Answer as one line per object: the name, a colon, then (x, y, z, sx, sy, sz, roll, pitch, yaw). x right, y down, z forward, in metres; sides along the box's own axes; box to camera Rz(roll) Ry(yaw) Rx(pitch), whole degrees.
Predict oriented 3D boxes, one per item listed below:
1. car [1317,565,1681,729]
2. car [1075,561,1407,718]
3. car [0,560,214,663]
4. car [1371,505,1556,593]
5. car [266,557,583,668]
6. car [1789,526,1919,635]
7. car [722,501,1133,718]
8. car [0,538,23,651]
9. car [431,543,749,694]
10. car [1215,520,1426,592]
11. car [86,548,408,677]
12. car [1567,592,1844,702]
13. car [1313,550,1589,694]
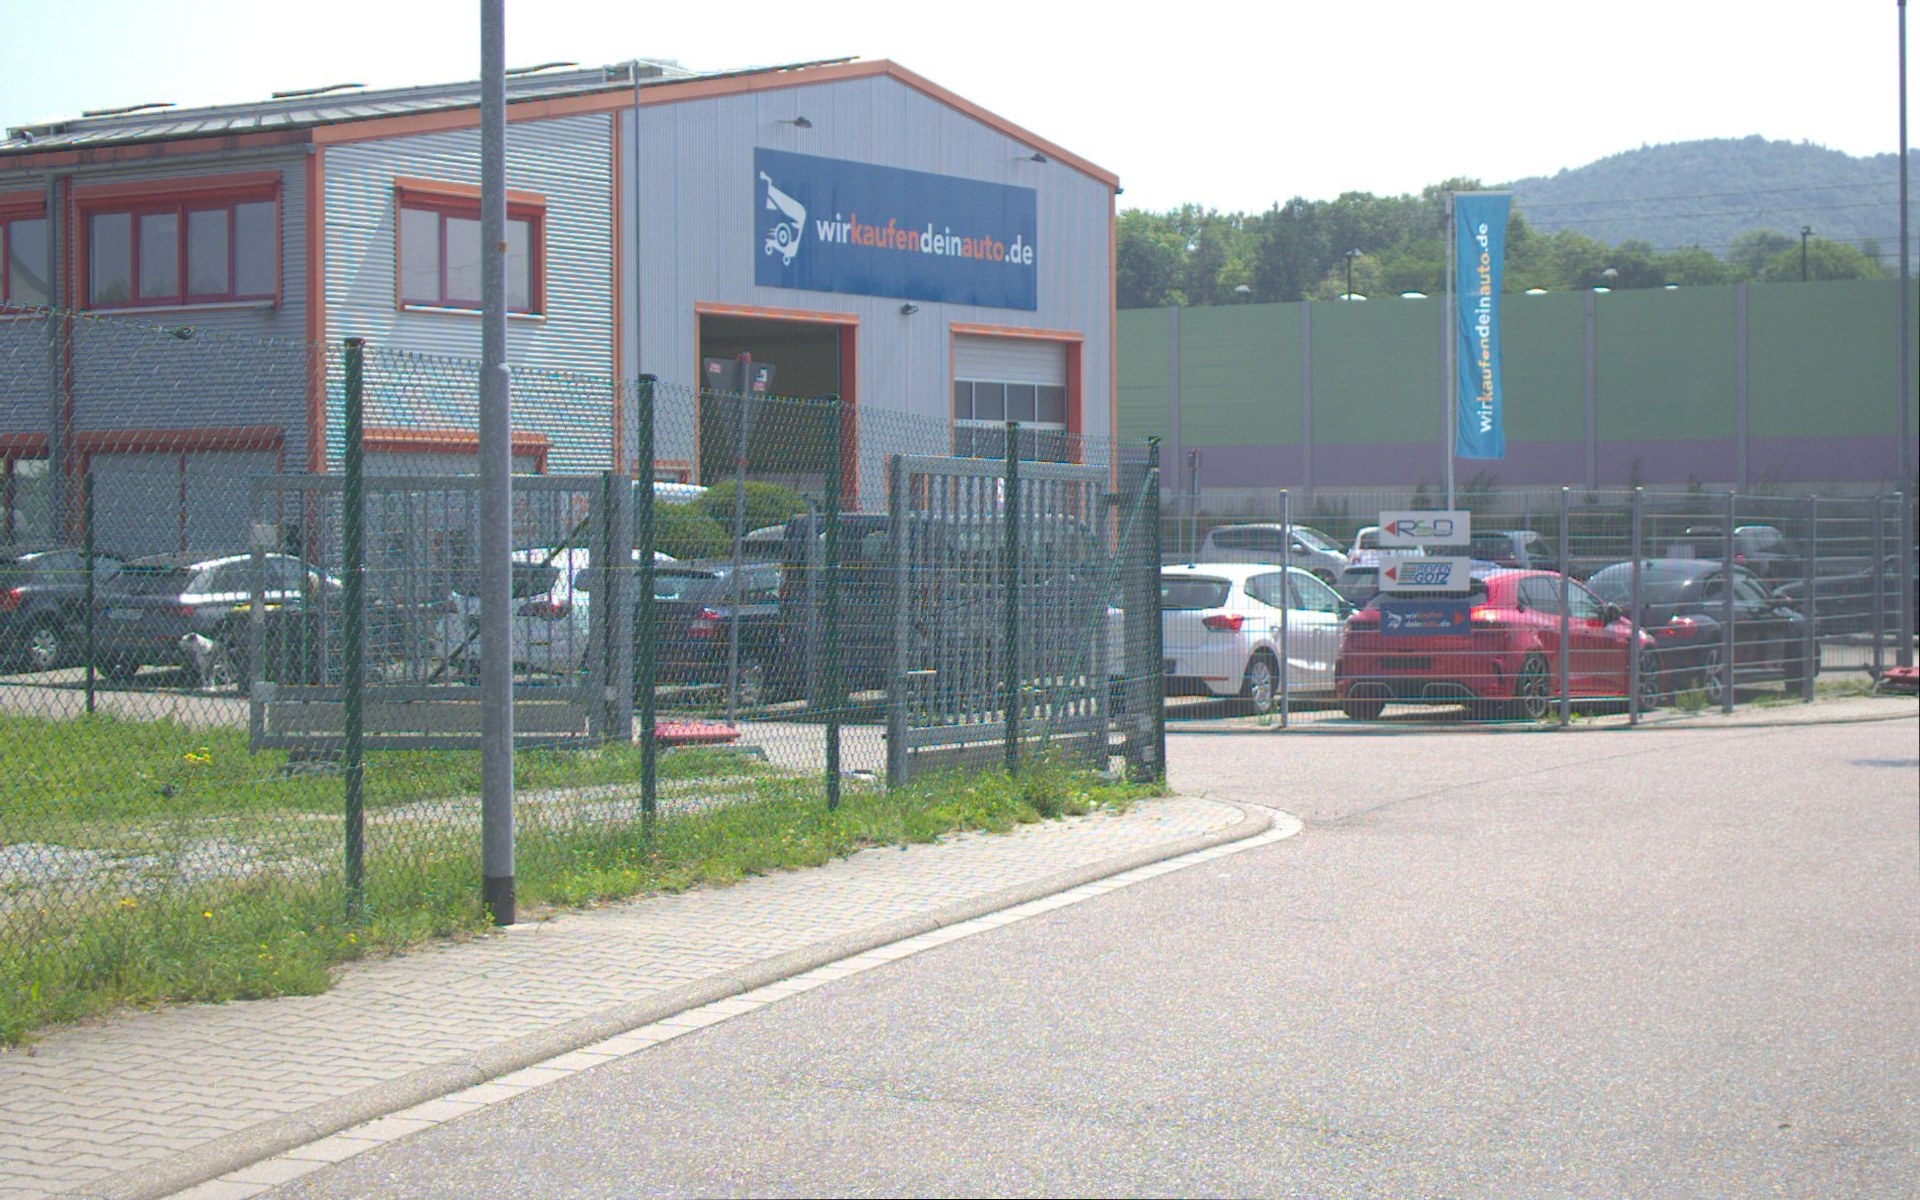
car: (5.138, 0.391, 32.341, 1.873, 1.382, 4.106, 1, 1, 33)
car: (2.802, 0.342, 33.703, 1.749, 1.400, 3.597, 1, 1, 33)
car: (-10.792, 0.116, 41.190, 1.506, 1.147, 3.597, 1, 1, 33)
car: (9.359, -0.961, 63.691, 1.997, 1.576, 3.993, 1, 2, 31)
car: (-5.970, 0.107, 38.644, 1.506, 1.147, 3.597, 1, 1, 33)
car: (13.791, -0.284, 47.672, 3.995, 1.487, 1.996, 1, 2, 37)
car: (-0.245, 0.033, 34.525, 1.954, 2.023, 4.509, 1, 1, 33)
car: (-13.442, -0.047, 42.294, 1.506, 1.411, 3.597, 1, 1, 33)
car: (-3.976, 0.155, 37.395, 1.506, 1.534, 3.597, 1, 1, 33)
car: (7.646, -0.950, 73.067, 3.994, 1.487, 1.996, 1, 2, 34)
car: (-8.102, 0.108, 39.296, 1.506, 1.376, 3.597, 1, 1, 33)
car: (7.884, 0.460, 36.108, 1.486, 1.003, 4.106, 1, 2, 33)
car: (5.402, 0.199, 37.515, 1.486, 1.449, 3.887, 1, 1, 33)
